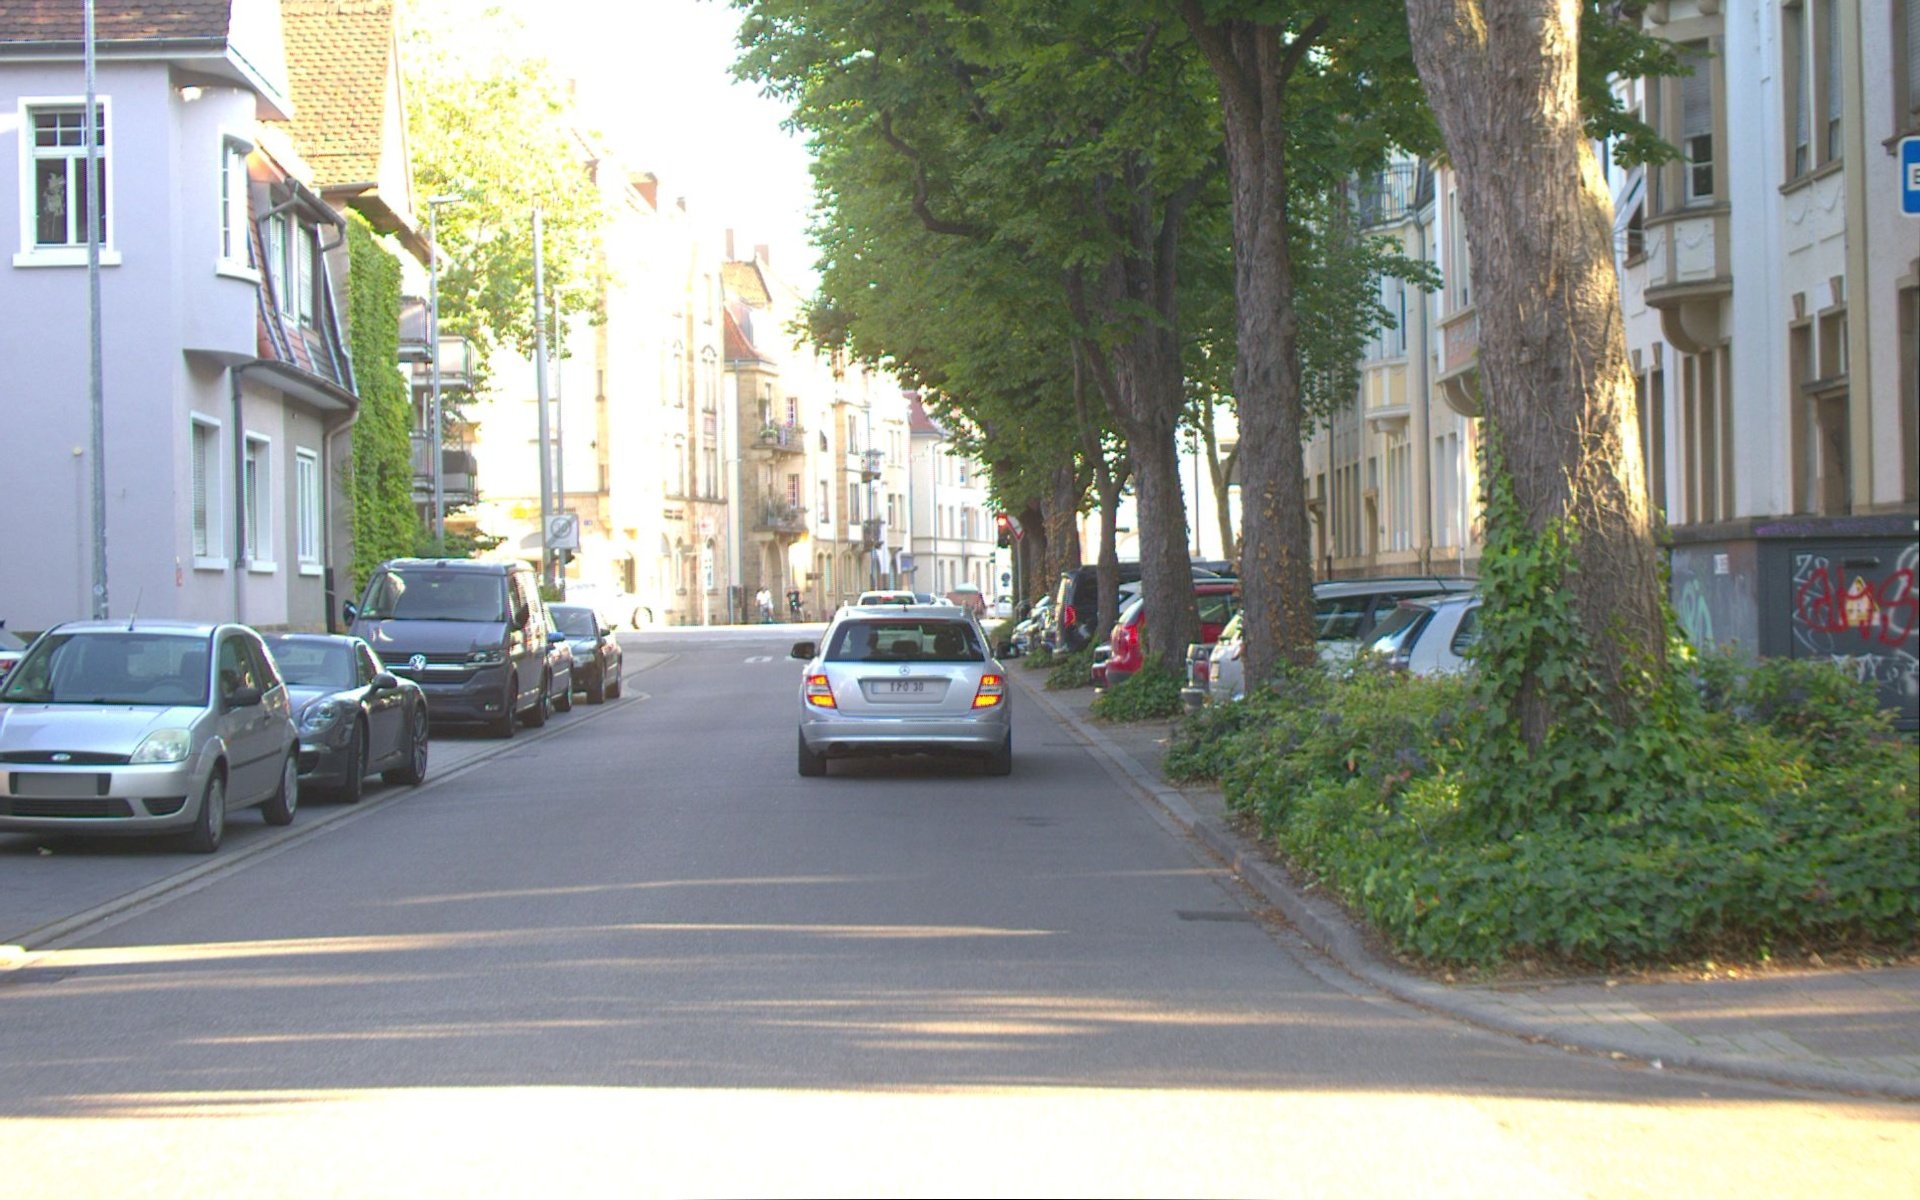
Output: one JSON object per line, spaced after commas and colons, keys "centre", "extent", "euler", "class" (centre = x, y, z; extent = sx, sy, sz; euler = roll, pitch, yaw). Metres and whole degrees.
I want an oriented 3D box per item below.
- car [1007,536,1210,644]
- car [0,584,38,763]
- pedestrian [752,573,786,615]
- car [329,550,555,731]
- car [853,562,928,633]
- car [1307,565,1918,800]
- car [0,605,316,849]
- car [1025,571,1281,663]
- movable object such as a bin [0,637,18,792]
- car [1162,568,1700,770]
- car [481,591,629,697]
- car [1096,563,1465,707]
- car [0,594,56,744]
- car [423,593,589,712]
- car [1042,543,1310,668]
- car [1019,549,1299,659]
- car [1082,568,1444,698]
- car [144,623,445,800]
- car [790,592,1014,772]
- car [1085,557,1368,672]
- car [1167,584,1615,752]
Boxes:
{"centre": [3.317, -0.231, 77.521], "extent": [4.388, 2.356, 2.000], "euler": [-1, 1, -3], "class": "car"}
{"centre": [-10.773, 0.680, 32.146], "extent": [3.862, 1.616, 1.898], "euler": [0, 1, -4], "class": "car"}
{"centre": [-7.813, -0.249, 140.601], "extent": [1.221, 1.716, 1.503], "euler": [0, 0, 2], "class": "pedestrian"}
{"centre": [-5.884, 0.413, 39.597], "extent": [1.982, 1.941, 4.852], "euler": [0, 1, -2], "class": "car"}
{"centre": [-1.576, -0.074, 79.114], "extent": [1.623, 1.564, 3.680], "euler": [-1, 1, 0], "class": "car"}
{"centre": [4.473, 0.541, 23.902], "extent": [3.792, 1.433, 1.749], "euler": [-2, 0, -5], "class": "car"}
{"centre": [-5.510, 0.781, 23.024], "extent": [1.653, 1.440, 3.960], "euler": [0, 1, 0], "class": "car"}
{"centre": [3.355, 0.280, 60.358], "extent": [4.287, 1.535, 1.877], "euler": [-1, 1, -3], "class": "car"}
{"centre": [-8.388, 0.974, 28.259], "extent": [0.721, 1.279, 2.096], "euler": [-1, 1, -1], "class": "movable object such as a bin"}
{"centre": [3.885, 0.554, 28.740], "extent": [4.146, 1.571, 1.713], "euler": [-1, 0, -6], "class": "car"}
{"centre": [-5.899, 0.612, 50.469], "extent": [1.695, 1.442, 4.358], "euler": [0, 1, -1], "class": "car"}
{"centre": [3.755, 0.404, 40.825], "extent": [4.190, 1.470, 1.851], "euler": [-3, 0, 2], "class": "car"}
{"centre": [-11.153, 0.690, 34.342], "extent": [3.862, 1.438, 1.635], "euler": [0, 1, -4], "class": "car"}
{"centre": [-5.941, 0.655, 45.364], "extent": [1.653, 1.442, 4.237], "euler": [1, 1, -1], "class": "car"}
{"centre": [3.572, 0.082, 57.419], "extent": [4.219, 1.890, 1.906], "euler": [-2, 0, -3], "class": "car"}
{"centre": [3.703, 0.052, 64.681], "extent": [5.053, 1.982, 2.072], "euler": [-1, 1, -3], "class": "car"}
{"centre": [3.793, 0.407, 43.650], "extent": [4.411, 1.414, 1.877], "euler": [-3, 0, 2], "class": "car"}
{"centre": [-5.352, 0.858, 28.128], "extent": [1.531, 1.314, 4.226], "euler": [0, 0, 2], "class": "car"}
{"centre": [-0.470, 0.659, 29.319], "extent": [1.784, 1.432, 3.851], "euler": [0, 0, 0], "class": "car"}
{"centre": [4.047, 0.212, 52.723], "extent": [4.110, 1.566, 1.877], "euler": [-2, 0, 0], "class": "car"}
{"centre": [3.844, 0.594, 31.138], "extent": [3.793, 1.433, 1.817], "euler": [-1, 0, -1], "class": "car"}
